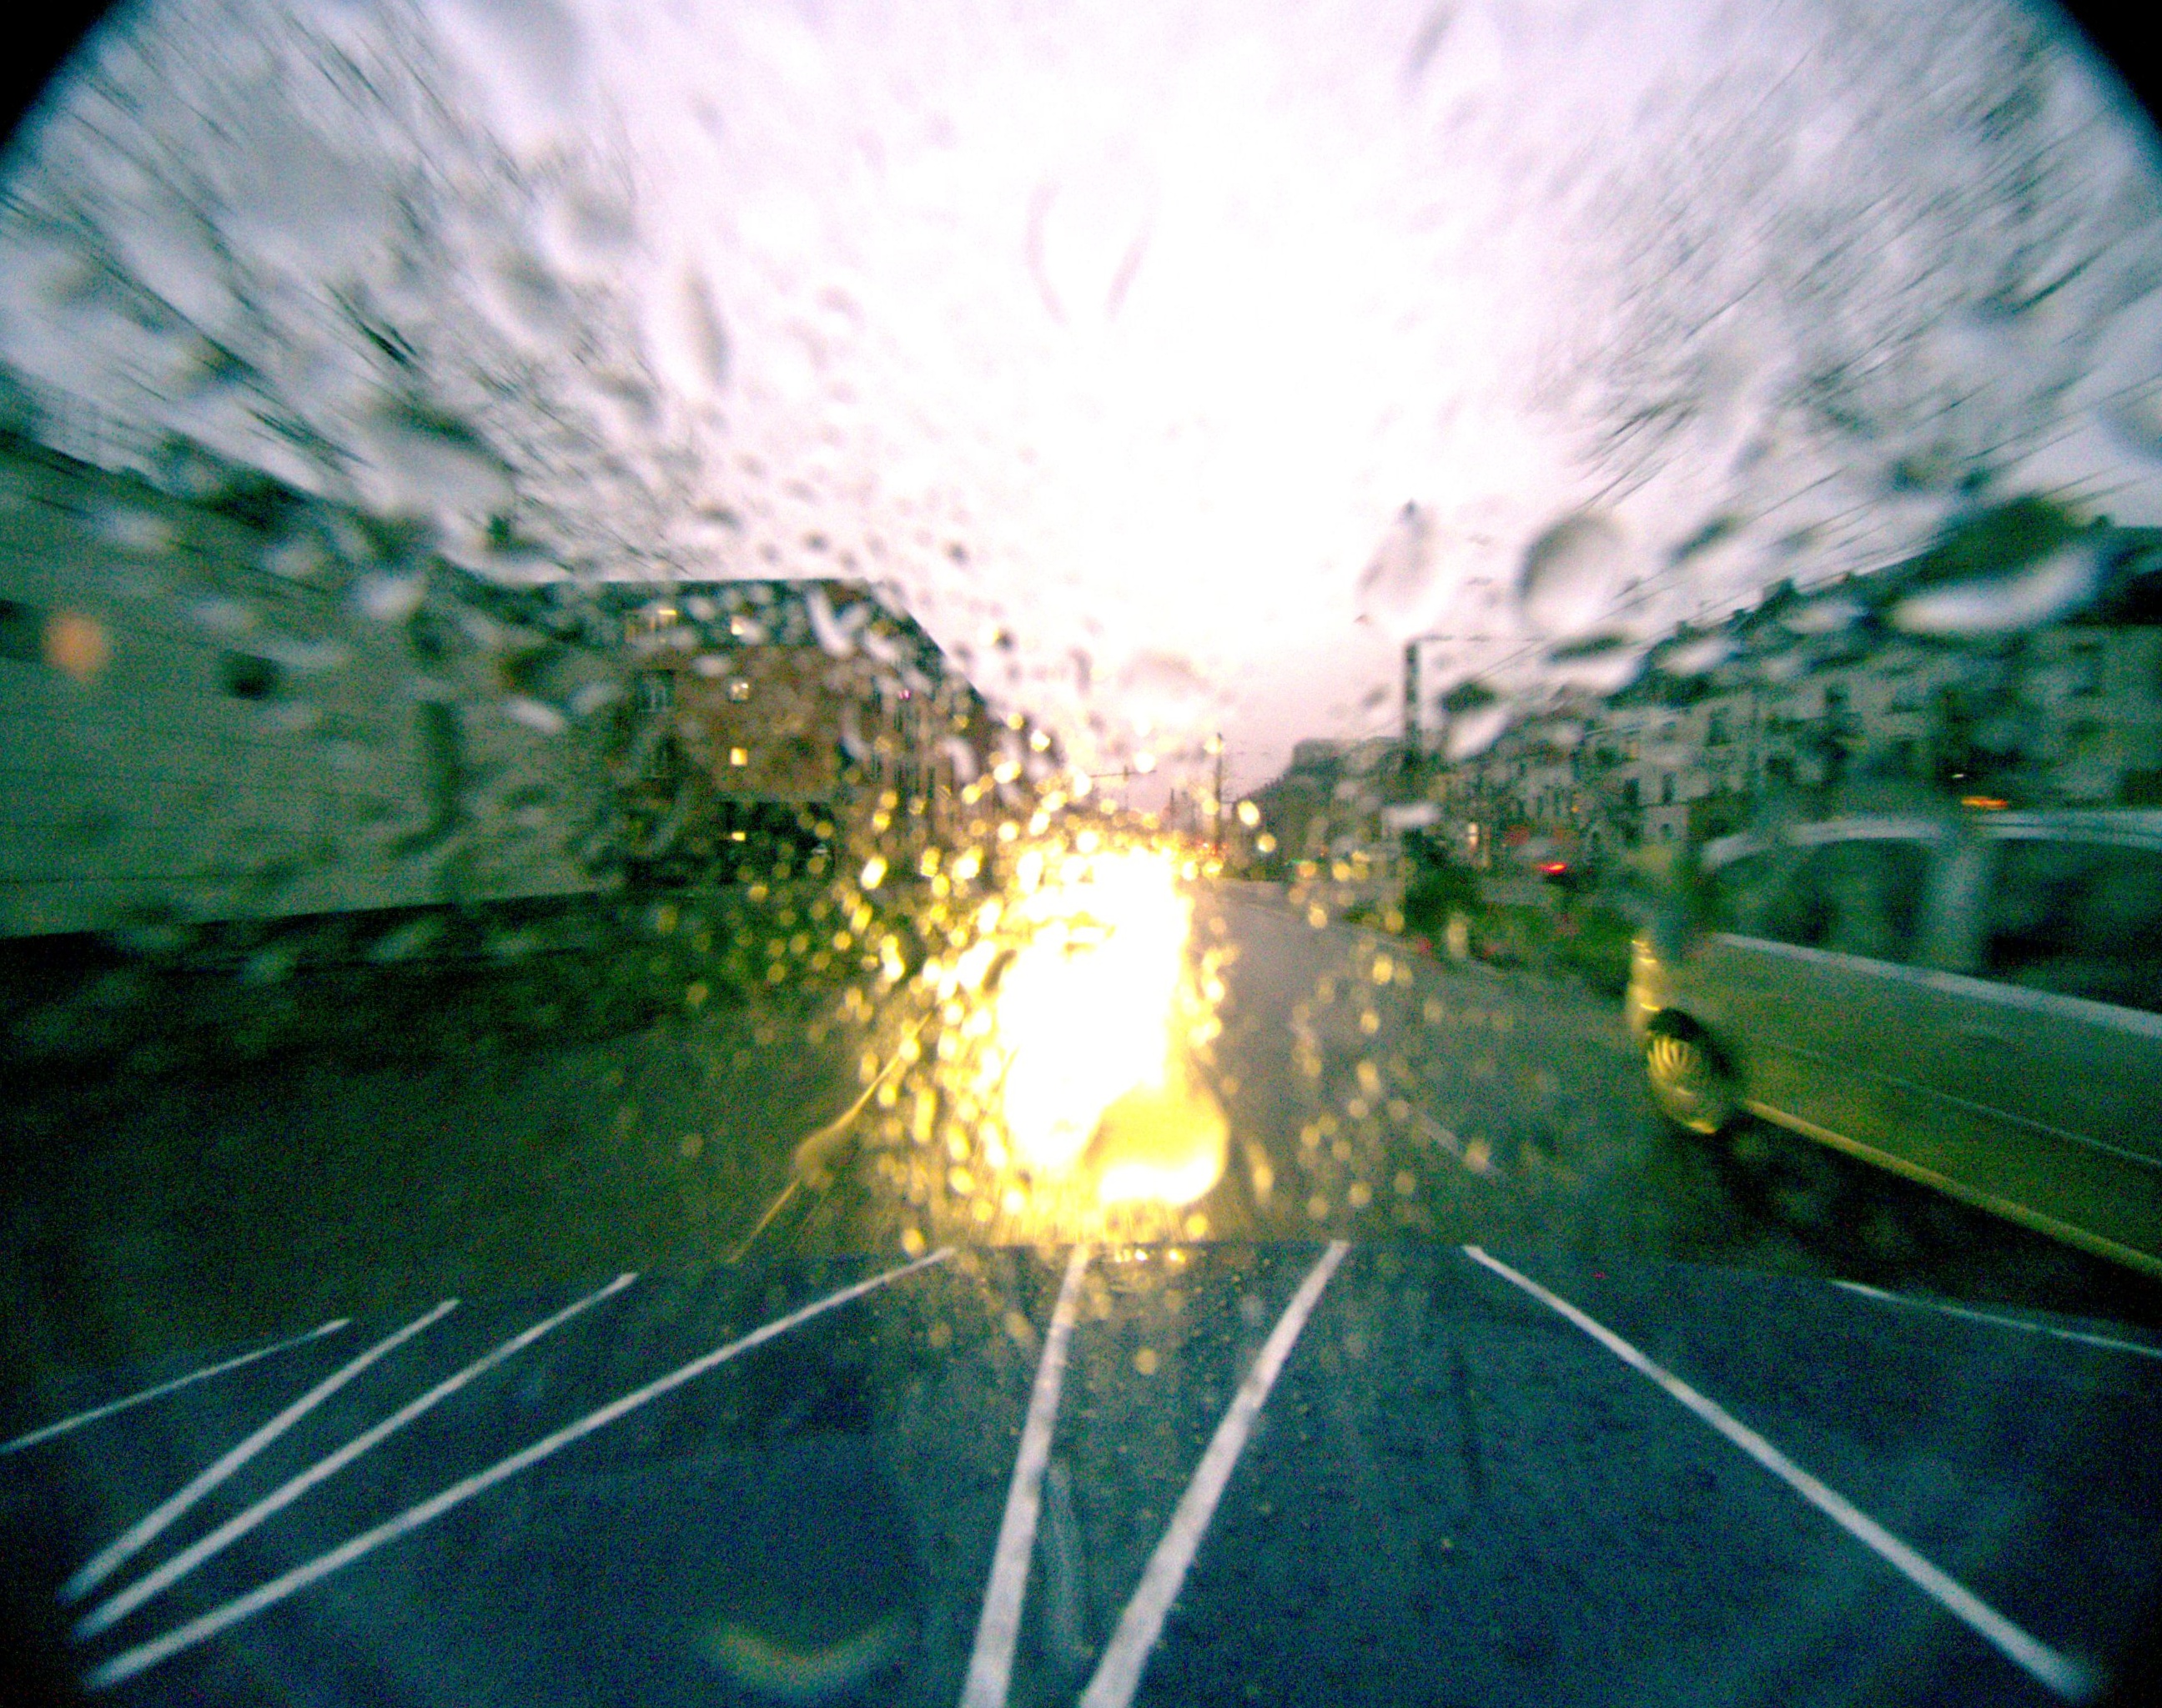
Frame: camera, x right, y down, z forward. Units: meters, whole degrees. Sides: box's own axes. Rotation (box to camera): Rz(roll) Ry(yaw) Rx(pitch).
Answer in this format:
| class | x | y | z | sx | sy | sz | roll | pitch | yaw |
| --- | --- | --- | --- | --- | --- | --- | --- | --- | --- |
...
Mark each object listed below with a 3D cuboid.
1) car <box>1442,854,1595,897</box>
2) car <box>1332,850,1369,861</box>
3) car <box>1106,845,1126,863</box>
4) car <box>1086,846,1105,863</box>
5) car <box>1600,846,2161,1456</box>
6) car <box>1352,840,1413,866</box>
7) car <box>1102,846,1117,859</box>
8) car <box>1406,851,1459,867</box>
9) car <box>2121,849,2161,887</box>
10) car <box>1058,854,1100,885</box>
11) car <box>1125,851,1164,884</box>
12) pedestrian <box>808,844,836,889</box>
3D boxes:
| class | x | y | z | sx | sy | sz | roll | pitch | yaw |
| --- | --- | --- | --- | --- | --- | --- | --- | --- | --- |
| car | 16.176 | 0.768 | 28.267 | 4.812 | 1.422 | 1.818 | -1 | 1 | 31 |
| car | 33.690 | 0.198 | 95.074 | 3.988 | 1.324 | 2.004 | 1 | 1 | 38 |
| car | 3.577 | 0.004 | 77.855 | 1.998 | 1.745 | 4.001 | 1 | 0 | 3 |
| car | 1.623 | 0.031 | 84.166 | 1.998 | 1.745 | 4.001 | 1 | 0 | 3 |
| car | 3.772 | 0.790 | 2.195 | 1.814 | 1.591 | 4.053 | -1 | 1 | 1 |
| car | 33.384 | -0.160 | 84.244 | 5.849 | 2.781 | 2.004 | 1 | 1 | 45 |
| car | 3.844 | -0.235 | 102.890 | 1.998 | 1.695 | 4.000 | 1 | 0 | 2 |
| car | 31.863 | 0.426 | 68.897 | 3.988 | 1.324 | 2.004 | 1 | 1 | 41 |
| car | 43.867 | 0.543 | 29.617 | 3.996 | 1.477 | 1.795 | 0 | 1 | 2 |
| car | -0.054 | 0.746 | 38.300 | 1.813 | 1.385 | 4.054 | -1 | 1 | 3 |
| car | 3.078 | 0.627 | 37.561 | 1.813 | 1.488 | 4.054 | -1 | 1 | 3 |
| pedestrian | -9.205 | 0.434 | 27.046 | 0.622 | 1.601 | 1.067 | 0 | 1 | -1 |
